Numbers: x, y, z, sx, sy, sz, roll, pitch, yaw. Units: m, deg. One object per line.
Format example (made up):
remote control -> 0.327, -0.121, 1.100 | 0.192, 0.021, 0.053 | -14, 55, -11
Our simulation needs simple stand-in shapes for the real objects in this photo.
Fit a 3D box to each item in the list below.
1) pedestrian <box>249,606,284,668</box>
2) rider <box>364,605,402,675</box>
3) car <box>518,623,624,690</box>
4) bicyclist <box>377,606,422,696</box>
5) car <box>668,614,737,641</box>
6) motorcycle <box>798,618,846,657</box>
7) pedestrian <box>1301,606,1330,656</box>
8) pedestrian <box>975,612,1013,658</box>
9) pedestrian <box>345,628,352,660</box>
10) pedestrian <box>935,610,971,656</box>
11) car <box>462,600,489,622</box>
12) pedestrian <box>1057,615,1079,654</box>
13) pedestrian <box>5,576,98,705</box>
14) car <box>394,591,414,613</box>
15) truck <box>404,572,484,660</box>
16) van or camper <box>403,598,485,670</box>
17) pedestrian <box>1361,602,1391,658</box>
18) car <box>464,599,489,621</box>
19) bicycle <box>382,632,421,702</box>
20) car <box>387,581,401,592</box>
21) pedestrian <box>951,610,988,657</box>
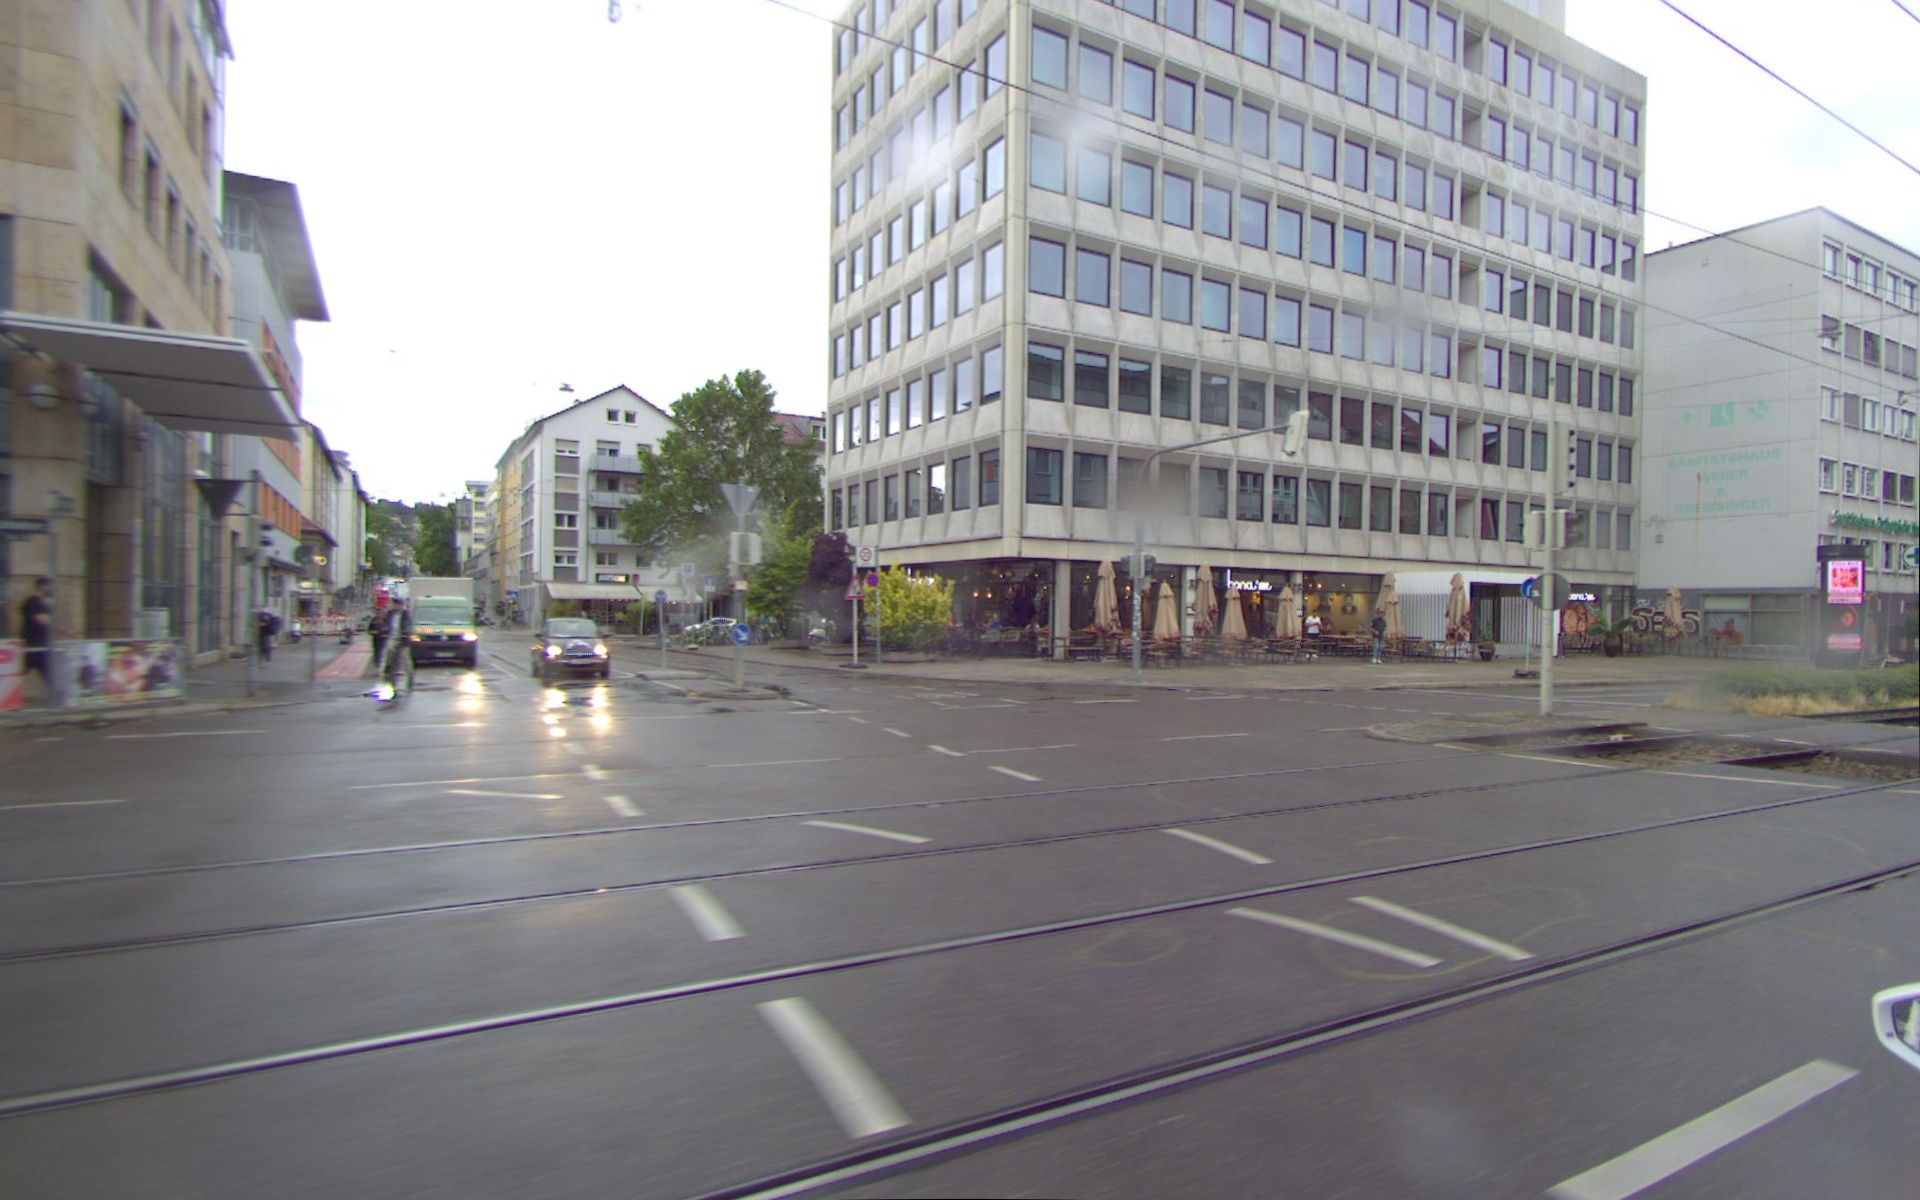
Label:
pedestrian -> -18.799, 0.988, 27.233 | 0.695, 1.658, 0.576 | 1, 0, -29
rider -> -14.269, 0.988, 24.845 | 0.775, 1.698, 0.705 | 1, 0, -30
car -> -10.240, 1.413, 26.272 | 1.870, 1.550, 3.965 | 1, -1, -32
bicyclist -> -11.609, 1.040, 20.820 | 0.775, 1.828, 0.705 | 1, 0, -30
car -> -18.627, 1.992, 72.649 | 4.557, 1.870, 2.093 | 2, -2, -23
motorcycle -> -6.388, 1.730, 46.382 | 2.048, 1.741, 0.876 | 2, -2, -21
pedestrian -> 12.850, 1.116, 36.290 | 0.836, 1.772, 0.561 | 2, 0, -34
pedestrian -> 1.171, 1.199, 34.660 | 0.954, 1.553, 0.889 | 1, -1, -31
pedestrian -> -31.328, 2.248, 51.456 | 0.305, 1.667, 0.308 | 1, 0, -31
pedestrian -> -0.247, 1.153, 35.277 | 0.887, 1.553, 0.957 | 1, -1, -31
car -> -41.162, 0.920, 85.285 | 1.761, 1.757, 4.131 | 2, 0, -30
pedestrian -> 3.717, 1.187, 34.578 | 0.547, 1.339, 0.520 | 2, -1, -29
pedestrian -> -13.105, 0.576, 14.506 | 0.689, 1.805, 0.679 | 1, 0, 5
car -> -54.342, 0.168, 98.108 | 1.637, 2.040, 3.457 | 1, 0, -29
truck -> -20.863, 0.606, 40.408 | 2.433, 3.206, 7.113 | 1, -1, -30
van or camper -> -16.529, 1.019, 32.060 | 2.072, 2.089, 5.058 | 1, -1, -30
pedestrian -> 13.973, 1.011, 33.726 | 0.836, 1.847, 0.561 | 2, 0, -34
car -> -43.985, 0.927, 91.357 | 1.761, 1.895, 3.991 | 2, 0, -30
bicycle -> -11.575, 1.357, 20.816 | 0.652, 1.328, 1.755 | 1, -1, -30
car -> -111.763, -2.637, 198.405 | 1.974, 2.040, 3.974 | 3, -2, -26
pedestrian -> 0.326, 1.118, 34.115 | 0.886, 1.553, 0.957 | 1, -1, -29
